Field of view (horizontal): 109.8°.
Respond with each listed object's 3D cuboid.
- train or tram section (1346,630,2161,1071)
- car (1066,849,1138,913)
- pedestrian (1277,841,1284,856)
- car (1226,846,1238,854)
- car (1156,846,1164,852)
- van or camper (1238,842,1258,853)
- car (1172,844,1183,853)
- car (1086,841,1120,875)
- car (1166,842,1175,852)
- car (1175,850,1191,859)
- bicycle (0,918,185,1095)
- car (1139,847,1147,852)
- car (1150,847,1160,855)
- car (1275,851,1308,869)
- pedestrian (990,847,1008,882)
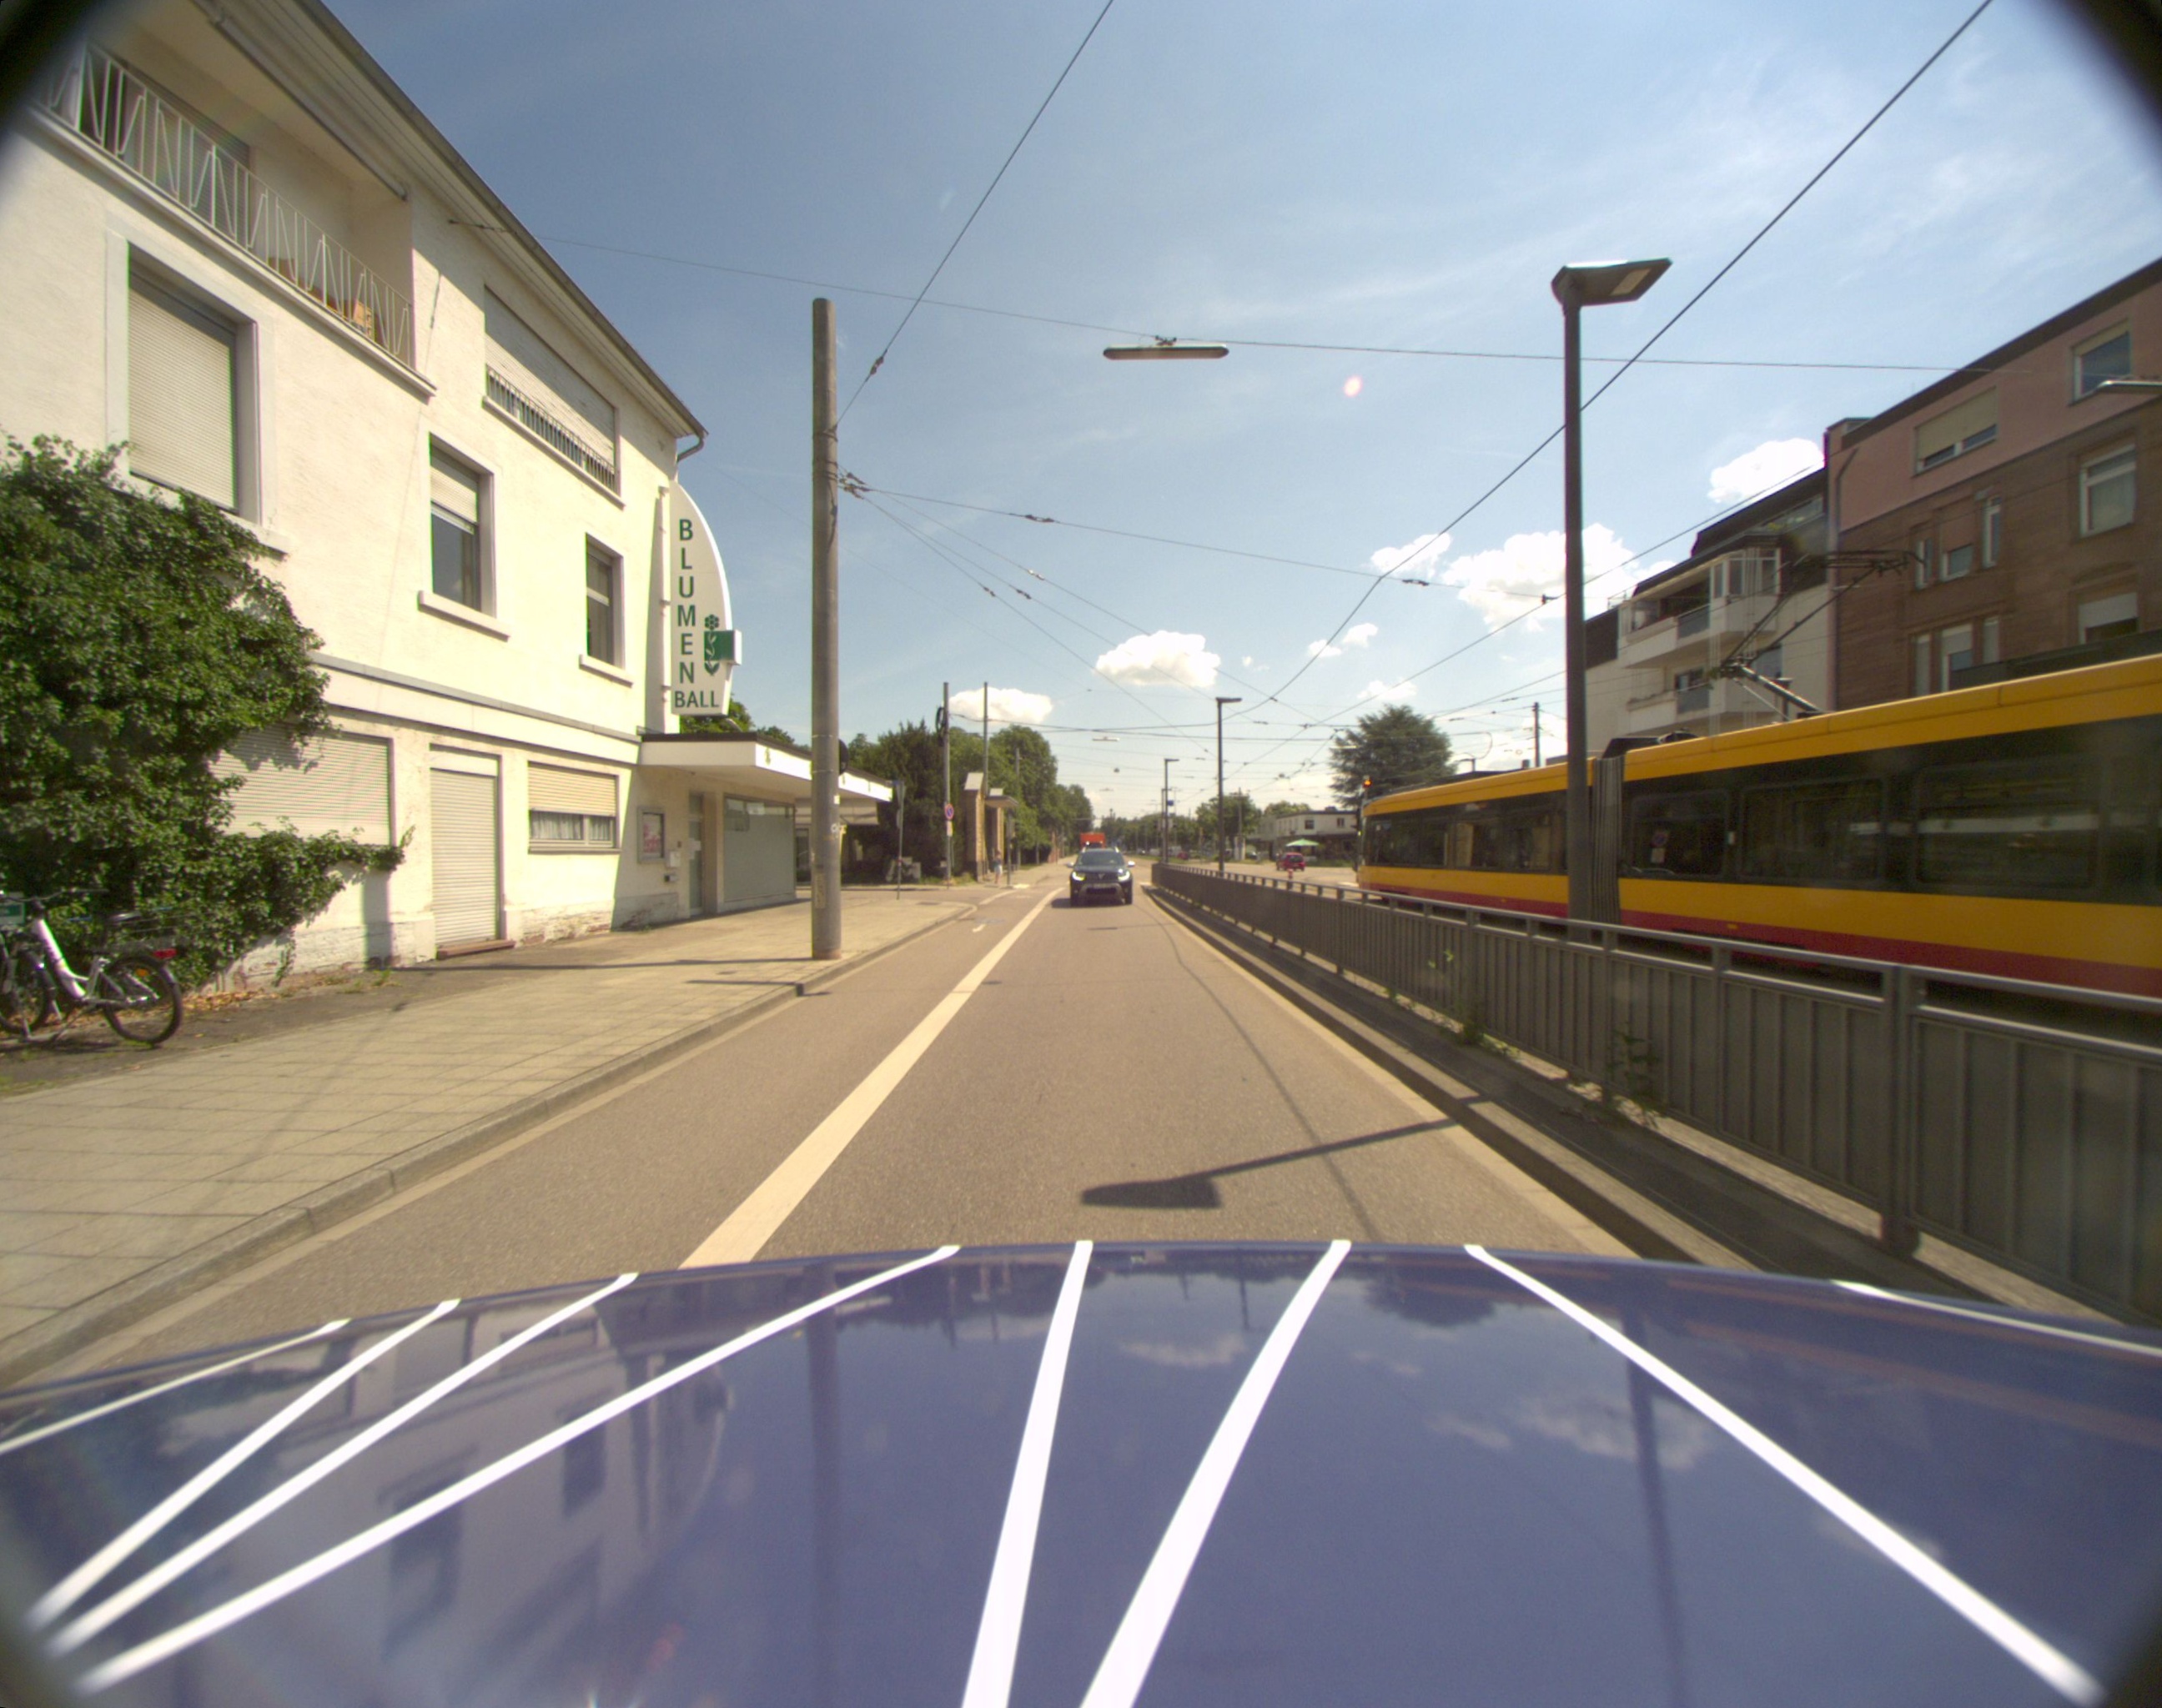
[{"bbox_3d":[10.406,-0.170,15.144,3.259,3.547,20.497,0,1,1],"label":"train or tram section"},{"bbox_3d":[0.658,0.696,21.931,1.845,1.565,4.487,-1,1,3],"label":"car"},{"bbox_3d":[24.471,-0.717,93.168,0.488,1.765,0.682,-5,3,-19],"label":"pedestrian"},{"bbox_3d":[31.155,-0.790,157.060,1.744,1.684,3.999,0,1,-1],"label":"car"},{"bbox_3d":[21.761,-1.275,209.303,1.744,1.684,3.999,0,1,-1],"label":"car"},{"bbox_3d":[47.009,-1.846,214.443,5.157,3.099,2.247,0,1,0],"label":"van or camper"},{"bbox_3d":[21.935,-1.287,172.358,1.966,1.953,3.999,0,1,-1],"label":"car"},{"bbox_3d":[1.407,0.235,47.064,1.998,2.002,4.000,0,1,4],"label":"car"},{"bbox_3d":[21.955,-1.736,187.182,1.744,2.573,3.999,0,1,-1],"label":"car"},{"bbox_3d":[16.851,0.128,125.699,1.998,1.441,4.821,0,0,1],"label":"car"},{"bbox_3d":[-7.220,1.034,5.328,1.536,1.080,0.429,2,1,7],"label":"bicycle"},{"bbox_3d":[18.102,-1.322,222.139,1.744,1.587,3.999,0,0,-1],"label":"car"},{"bbox_3d":[17.595,-0.726,180.902,1.863,1.865,4.553,0,0,-3],"label":"car"},{"bbox_3d":[17.322,0.510,62.673,1.659,1.436,3.853,0,0,1],"label":"car"},{"bbox_3d":[-3.993,0.500,37.028,0.563,1.656,0.683,1,1,23],"label":"pedestrian"}]
